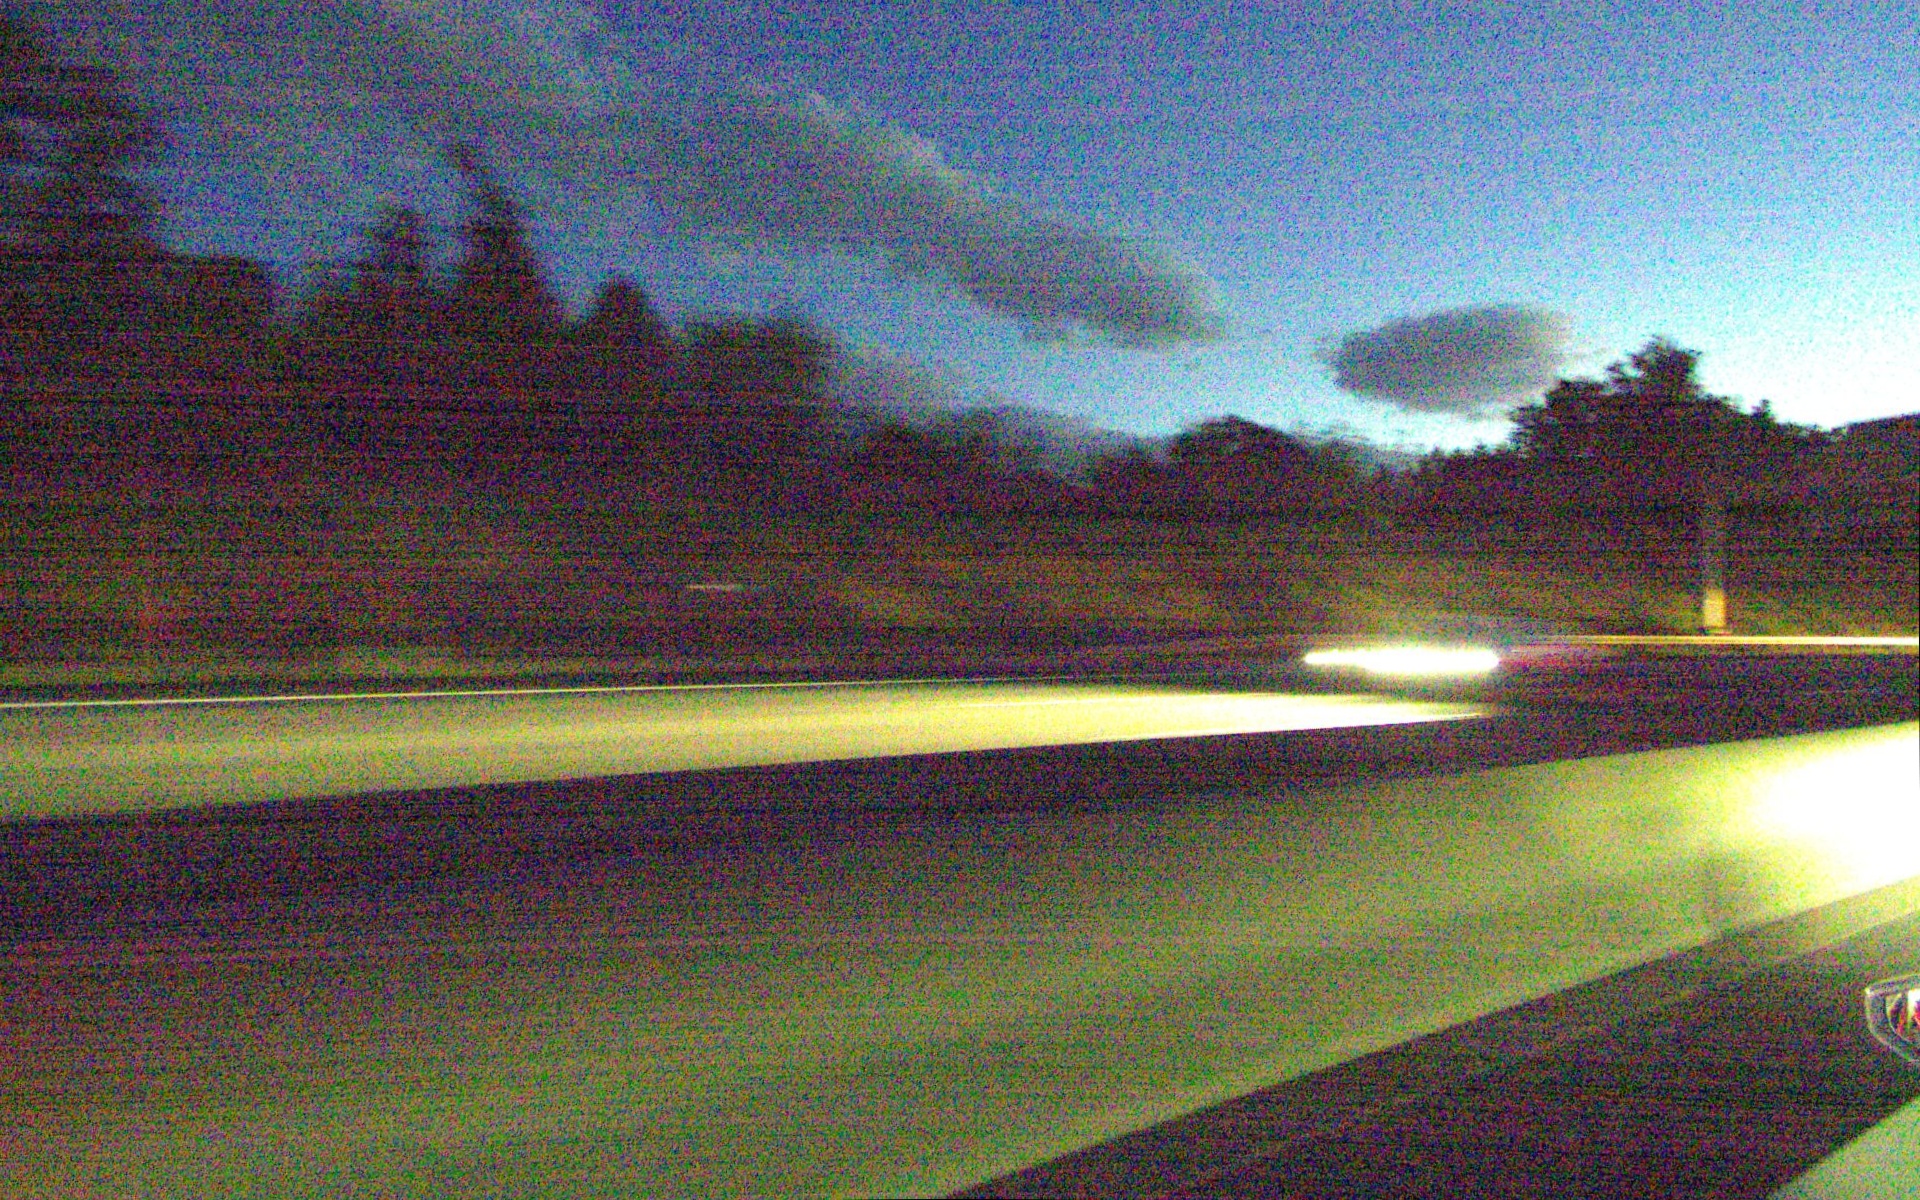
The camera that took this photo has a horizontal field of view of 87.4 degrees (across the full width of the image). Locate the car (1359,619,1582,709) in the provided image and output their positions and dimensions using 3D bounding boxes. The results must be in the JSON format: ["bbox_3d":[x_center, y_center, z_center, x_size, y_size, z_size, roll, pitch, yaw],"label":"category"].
[{"bbox_3d":[9.472,1.122,18.560,4.087,1.472,1.803,1,0,-31],"label":"car"}]
